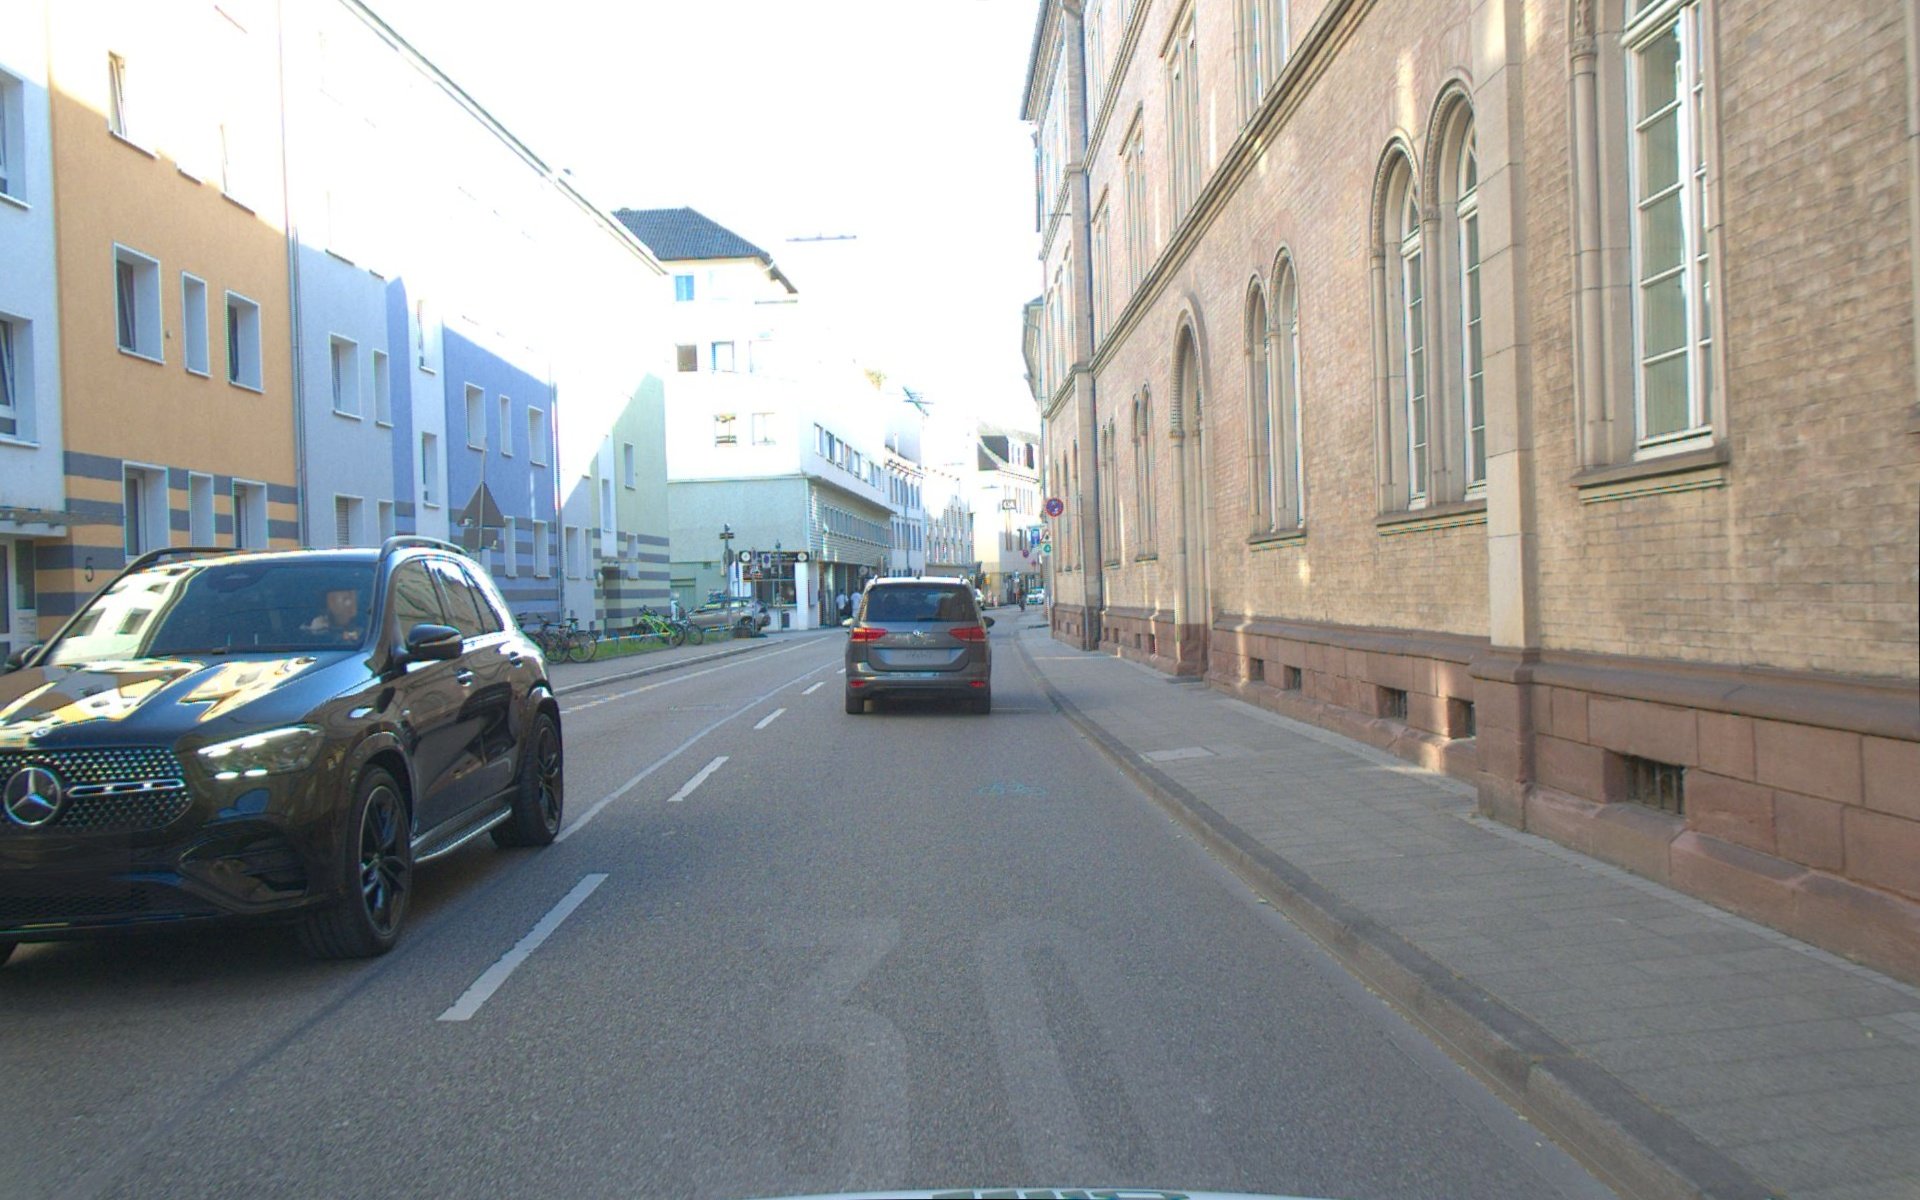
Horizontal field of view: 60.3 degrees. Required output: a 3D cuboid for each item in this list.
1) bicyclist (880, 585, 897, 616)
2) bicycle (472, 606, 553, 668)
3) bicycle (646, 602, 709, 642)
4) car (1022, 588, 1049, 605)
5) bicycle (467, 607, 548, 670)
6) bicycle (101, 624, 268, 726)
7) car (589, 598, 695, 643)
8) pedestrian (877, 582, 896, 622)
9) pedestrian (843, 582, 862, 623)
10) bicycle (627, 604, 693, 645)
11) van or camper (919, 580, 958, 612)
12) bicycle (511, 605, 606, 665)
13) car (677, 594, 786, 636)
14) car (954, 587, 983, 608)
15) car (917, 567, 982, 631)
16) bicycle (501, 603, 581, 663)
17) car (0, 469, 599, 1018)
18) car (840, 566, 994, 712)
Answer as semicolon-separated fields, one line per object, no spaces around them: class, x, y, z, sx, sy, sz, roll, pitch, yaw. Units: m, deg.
bicyclist;-3.748;0.022;87.212;0.814;1.589;0.760;-2;0;1
bicycle;-9.551;0.790;35.325;1.552;1.263;0.449;-2;0;-2
bicycle;-8.704;0.671;51.014;1.892;1.200;0.612;1;0;-8
car;7.146;-0.338;156.944;1.697;1.493;4.003;-2;0;15
bicycle;-9.545;0.816;34.907;1.547;1.263;0.384;-2;0;-2
bicycle;-9.602;0.914;20.526;1.719;1.165;0.649;-2;0;-9
car;-11.736;0.753;61.186;3.427;1.468;1.814;-3;1;3
pedestrian;-3.483;0.088;78.437;0.544;1.861;0.730;-2;0;25
pedestrian;-4.975;0.132;76.368;0.544;1.861;0.730;-2;0;25
bicycle;-9.000;0.735;49.548;1.896;1.200;0.611;1;0;-15
van or camper;-1.445;-0.286;110.788;1.951;2.049;4.486;-2;0;7
bicycle;-9.044;0.781;37.296;1.968;1.253;0.623;-2;0;-2
car;-9.225;0.611;67.012;4.013;1.468;1.948;-3;1;3
car;0.672;-0.174;126.809;1.826;1.494;3.836;-2;1;6
car;-0.341;-0.060;53.052;1.953;1.914;4.000;-2;0;0
bicycle;-9.265;0.727;36.577;1.606;1.263;0.467;-2;0;-2
car;-3.302;0.513;8.399;1.862;1.866;5.093;-4;0;-2
car;-0.519;0.437;20.823;1.726;1.635;3.999;1;0;-1
